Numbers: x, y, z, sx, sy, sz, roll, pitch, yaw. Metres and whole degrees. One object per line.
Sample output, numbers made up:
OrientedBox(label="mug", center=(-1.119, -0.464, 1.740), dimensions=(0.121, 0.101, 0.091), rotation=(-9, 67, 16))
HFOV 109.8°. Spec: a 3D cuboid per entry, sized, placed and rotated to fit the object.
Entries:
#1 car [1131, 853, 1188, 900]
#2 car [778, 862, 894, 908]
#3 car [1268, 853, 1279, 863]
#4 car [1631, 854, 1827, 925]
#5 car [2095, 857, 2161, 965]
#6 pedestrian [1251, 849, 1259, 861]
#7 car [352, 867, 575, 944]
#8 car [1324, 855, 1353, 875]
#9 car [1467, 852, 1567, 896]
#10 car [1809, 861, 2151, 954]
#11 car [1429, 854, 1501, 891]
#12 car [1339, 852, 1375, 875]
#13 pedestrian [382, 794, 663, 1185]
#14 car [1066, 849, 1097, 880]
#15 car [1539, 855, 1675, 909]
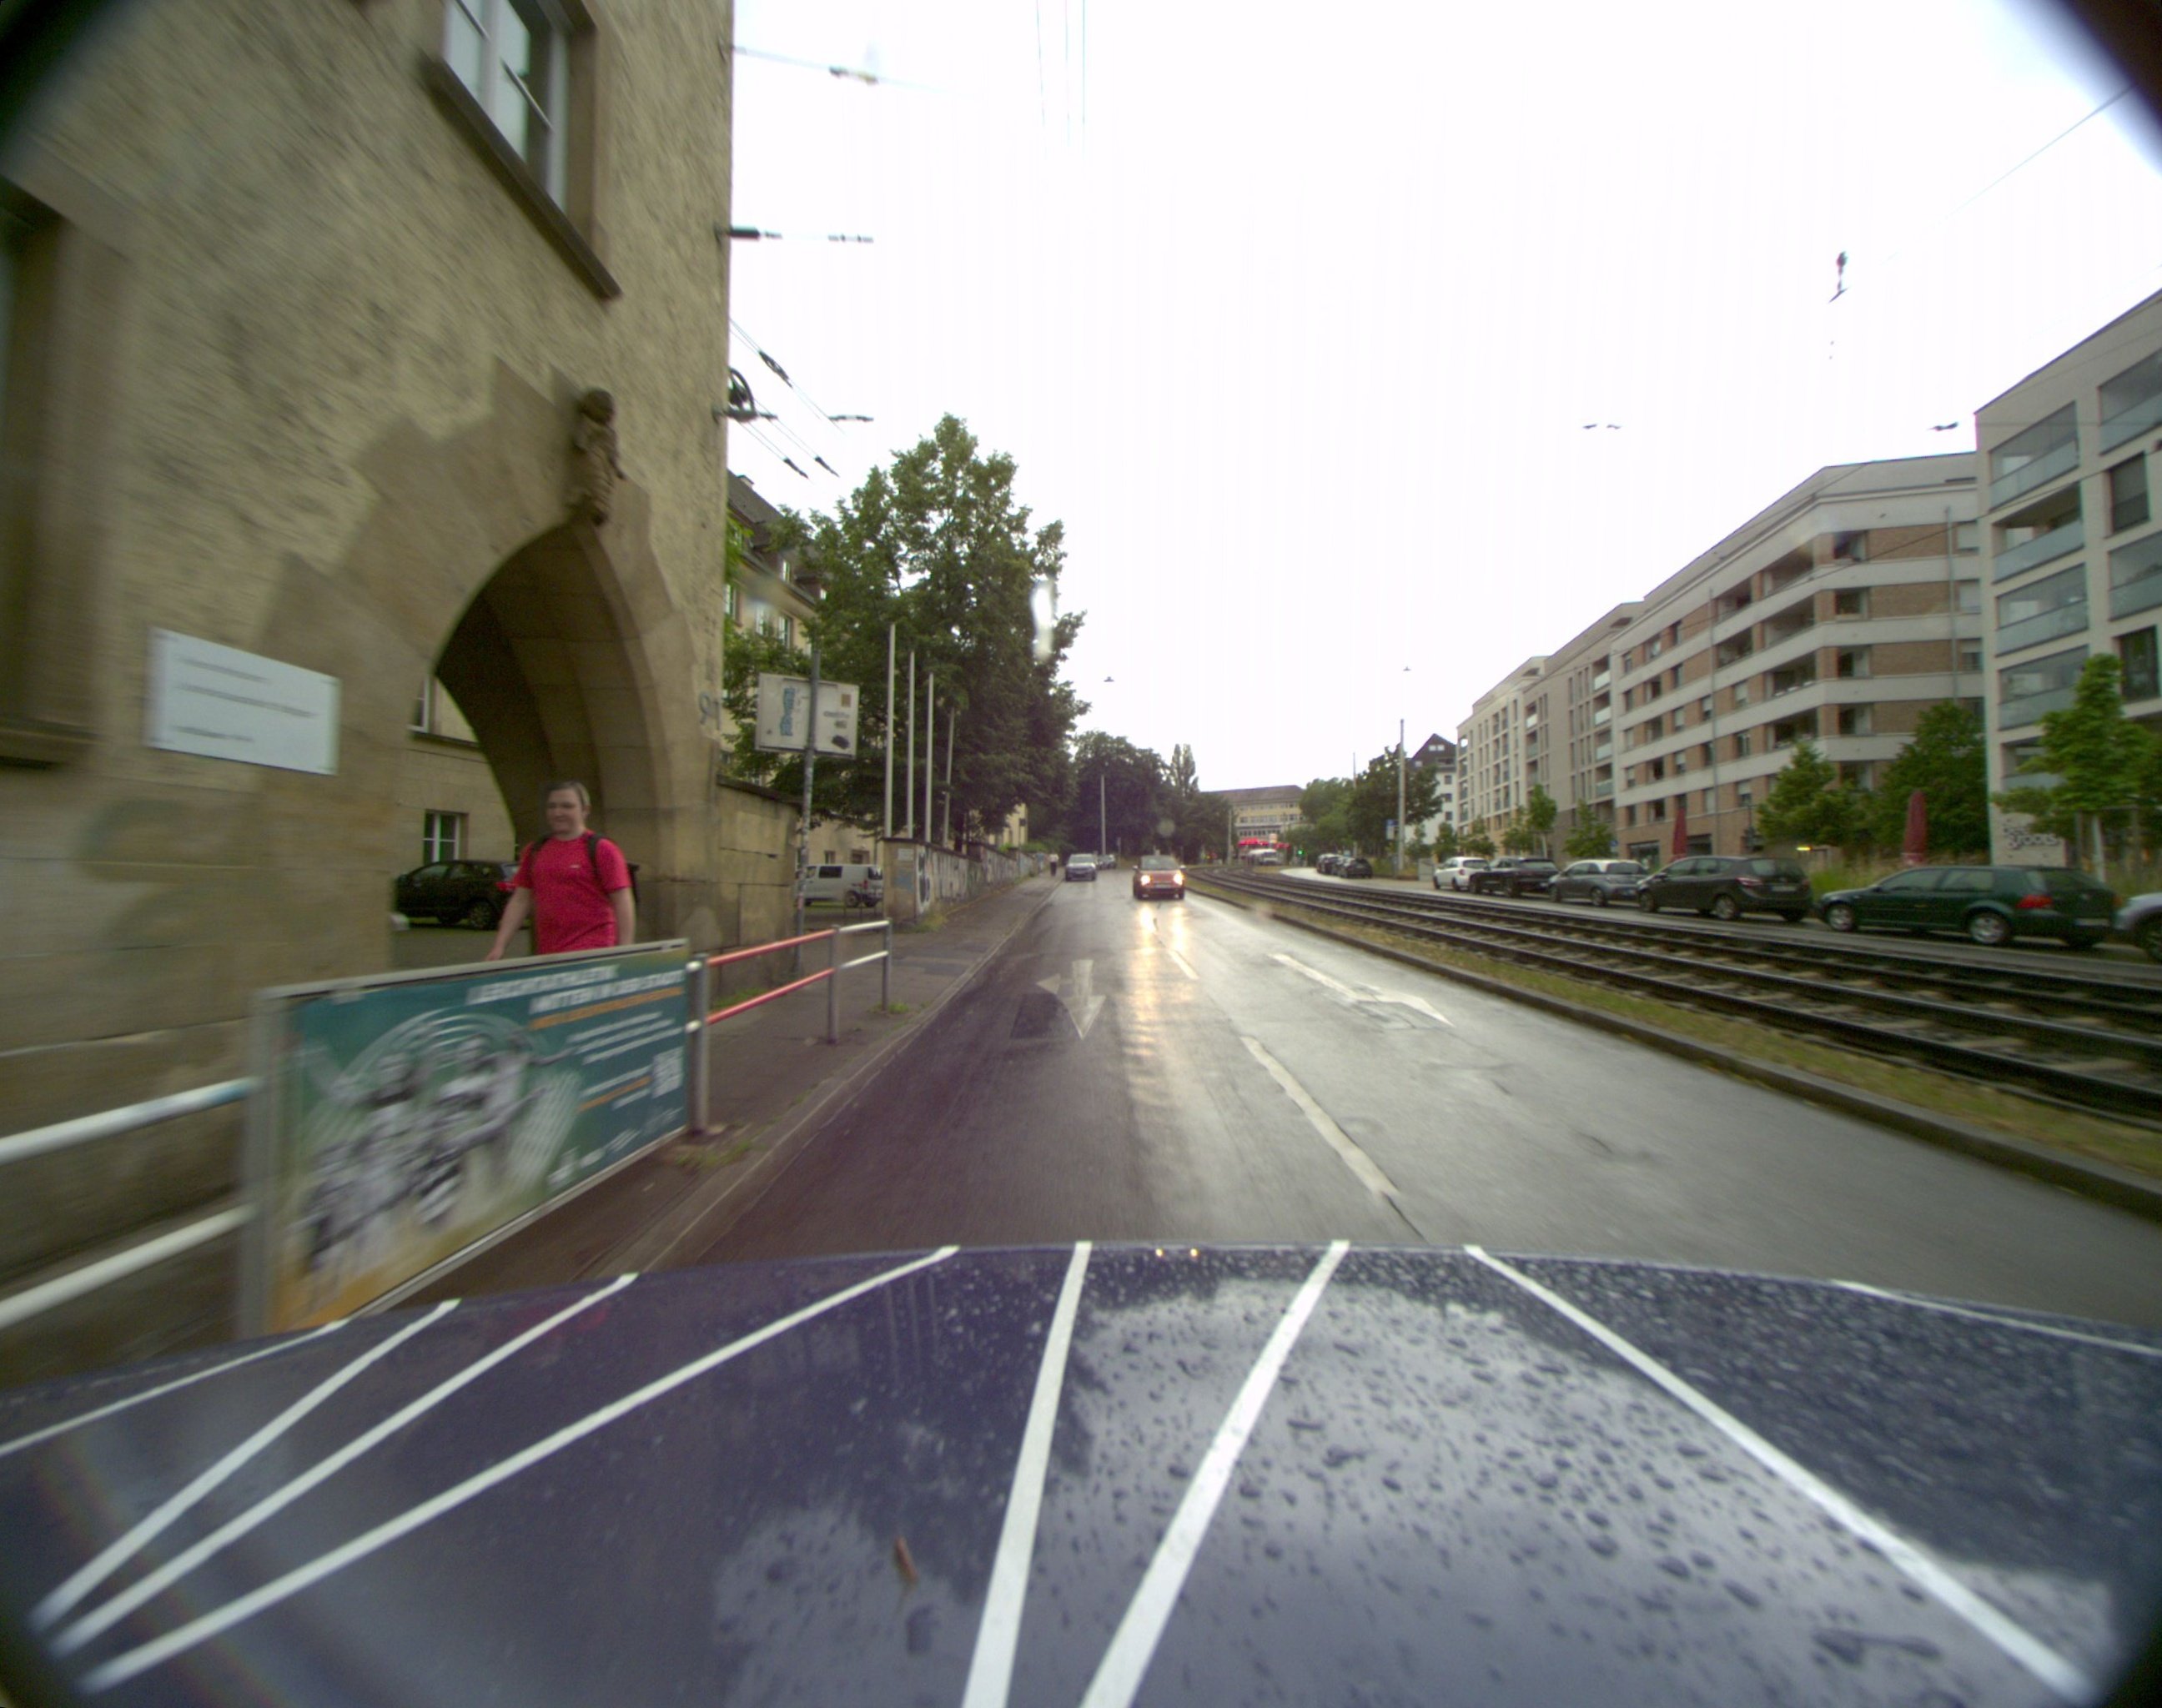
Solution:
OrientedBox(label="car", center=(2.725, 0.748, 27.161), dimensions=(1.594, 1.455, 3.669), rotation=(-3, 1, 0))
OrientedBox(label="car", center=(-10.902, 1.386, 33.865), dimensions=(4.526, 1.769, 1.824), rotation=(-3, 1, 12))
OrientedBox(label="car", center=(34.434, 0.750, 135.954), dimensions=(1.666, 1.597, 3.812), rotation=(-3, 1, 16))
OrientedBox(label="car", center=(16.331, 0.820, 19.446), dimensions=(1.684, 1.554, 3.928), rotation=(-2, 1, 0))
OrientedBox(label="car", center=(16.563, 0.835, 9.714), dimensions=(1.685, 1.521, 4.048), rotation=(-2, 1, -4))
OrientedBox(label="pedestrian", center=(26.827, 0.197, 117.287), dimensions=(0.816, 1.754, 0.751), rotation=(2, 1, 40))
OrientedBox(label="car", center=(-14.096, 1.153, 17.458), dimensions=(3.911, 1.461, 1.613), rotation=(-3, 1, 6))
OrientedBox(label="car", center=(20.818, 0.861, 61.555), dimensions=(1.653, 1.455, 3.672), rotation=(-3, 1, 9))
OrientedBox(label="car", center=(16.799, 0.724, 29.541), dimensions=(1.683, 1.496, 4.406), rotation=(-2, 1, 5))
OrientedBox(label="car", center=(16.512, 0.892, 14.335), dimensions=(1.684, 1.373, 4.032), rotation=(-2, 1, 0))
OrientedBox(label="car", center=(17.322, 0.802, 34.461), dimensions=(1.649, 1.496, 3.782), rotation=(-2, 1, 6))
OrientedBox(label="car", center=(19.395, 0.647, 53.493), dimensions=(1.653, 1.455, 3.672), rotation=(-3, 1, 9))
OrientedBox(label="pedestrian", center=(-2.740, 0.612, 3.836), dimensions=(0.748, 1.754, 0.818), rotation=(-1, 1, 0))
OrientedBox(label="car", center=(0.026, 0.604, 45.793), dimensions=(1.726, 1.676, 3.866), rotation=(-3, 1, 0))
OrientedBox(label="car", center=(16.795, 0.839, 24.511), dimensions=(1.684, 1.496, 3.928), rotation=(-2, 1, 0))
